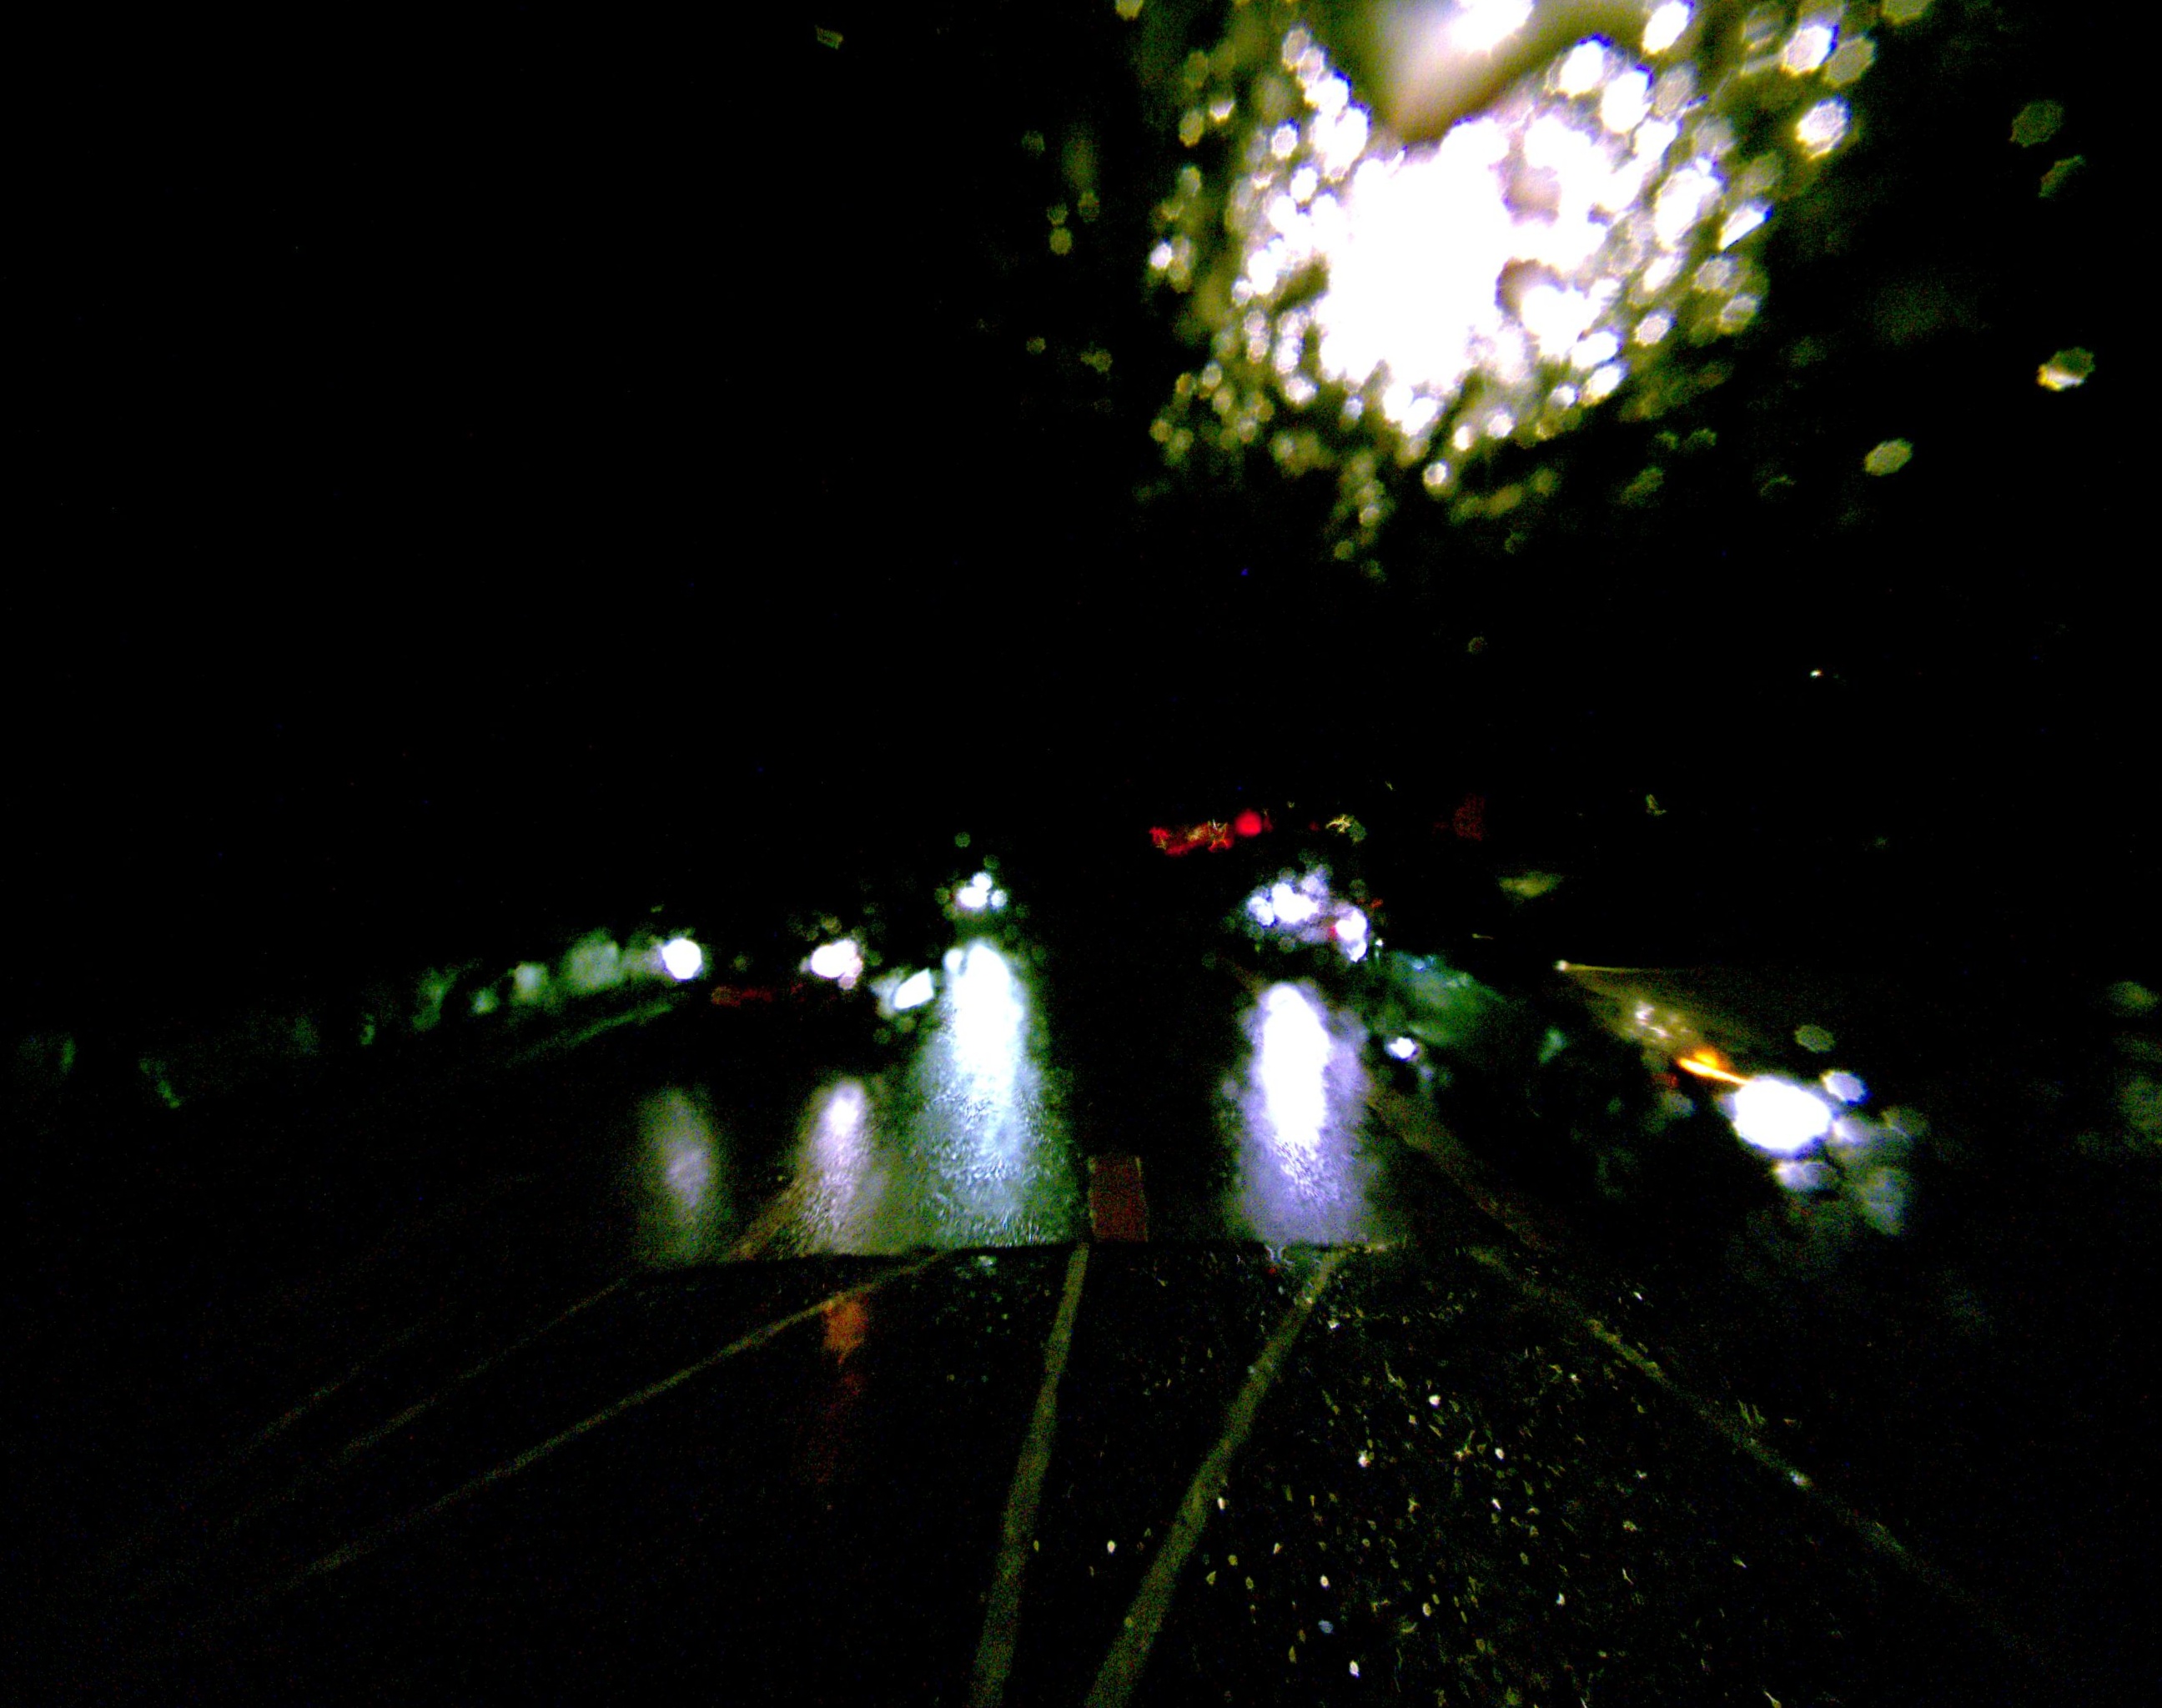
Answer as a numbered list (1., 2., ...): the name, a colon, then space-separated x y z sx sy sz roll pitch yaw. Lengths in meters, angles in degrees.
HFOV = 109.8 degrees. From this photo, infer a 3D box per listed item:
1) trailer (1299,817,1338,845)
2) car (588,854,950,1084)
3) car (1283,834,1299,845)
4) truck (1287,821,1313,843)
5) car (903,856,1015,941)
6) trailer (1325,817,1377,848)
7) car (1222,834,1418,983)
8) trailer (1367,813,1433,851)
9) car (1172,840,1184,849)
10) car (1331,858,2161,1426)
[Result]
1. trailer: 48.149 -4.722 154.728 3.980 4.984 14.836 -6 1 5
2. car: -2.758 0.886 7.923 1.790 1.684 4.219 -2 0 3
3. car: 37.755 -2.580 136.662 1.790 1.684 4.219 -4 0 4
4. truck: 49.445 -4.970 171.812 3.446 4.584 10.213 -6 1 5
5. car: -2.714 0.935 17.971 1.788 1.638 4.436 -3 0 1
6. trailer: 45.482 -3.604 128.776 3.980 4.584 15.516 -6 1 5
7. car: 3.316 0.652 11.464 1.788 1.772 4.437 -2 0 4
8. trailer: 44.507 -3.078 106.768 3.980 4.584 14.248 -6 1 5
9. car: 19.170 -1.953 150.671 1.765 1.632 4.652 -3 1 2
10. car: 2.993 0.816 4.311 1.788 1.502 4.436 -1 1 2
